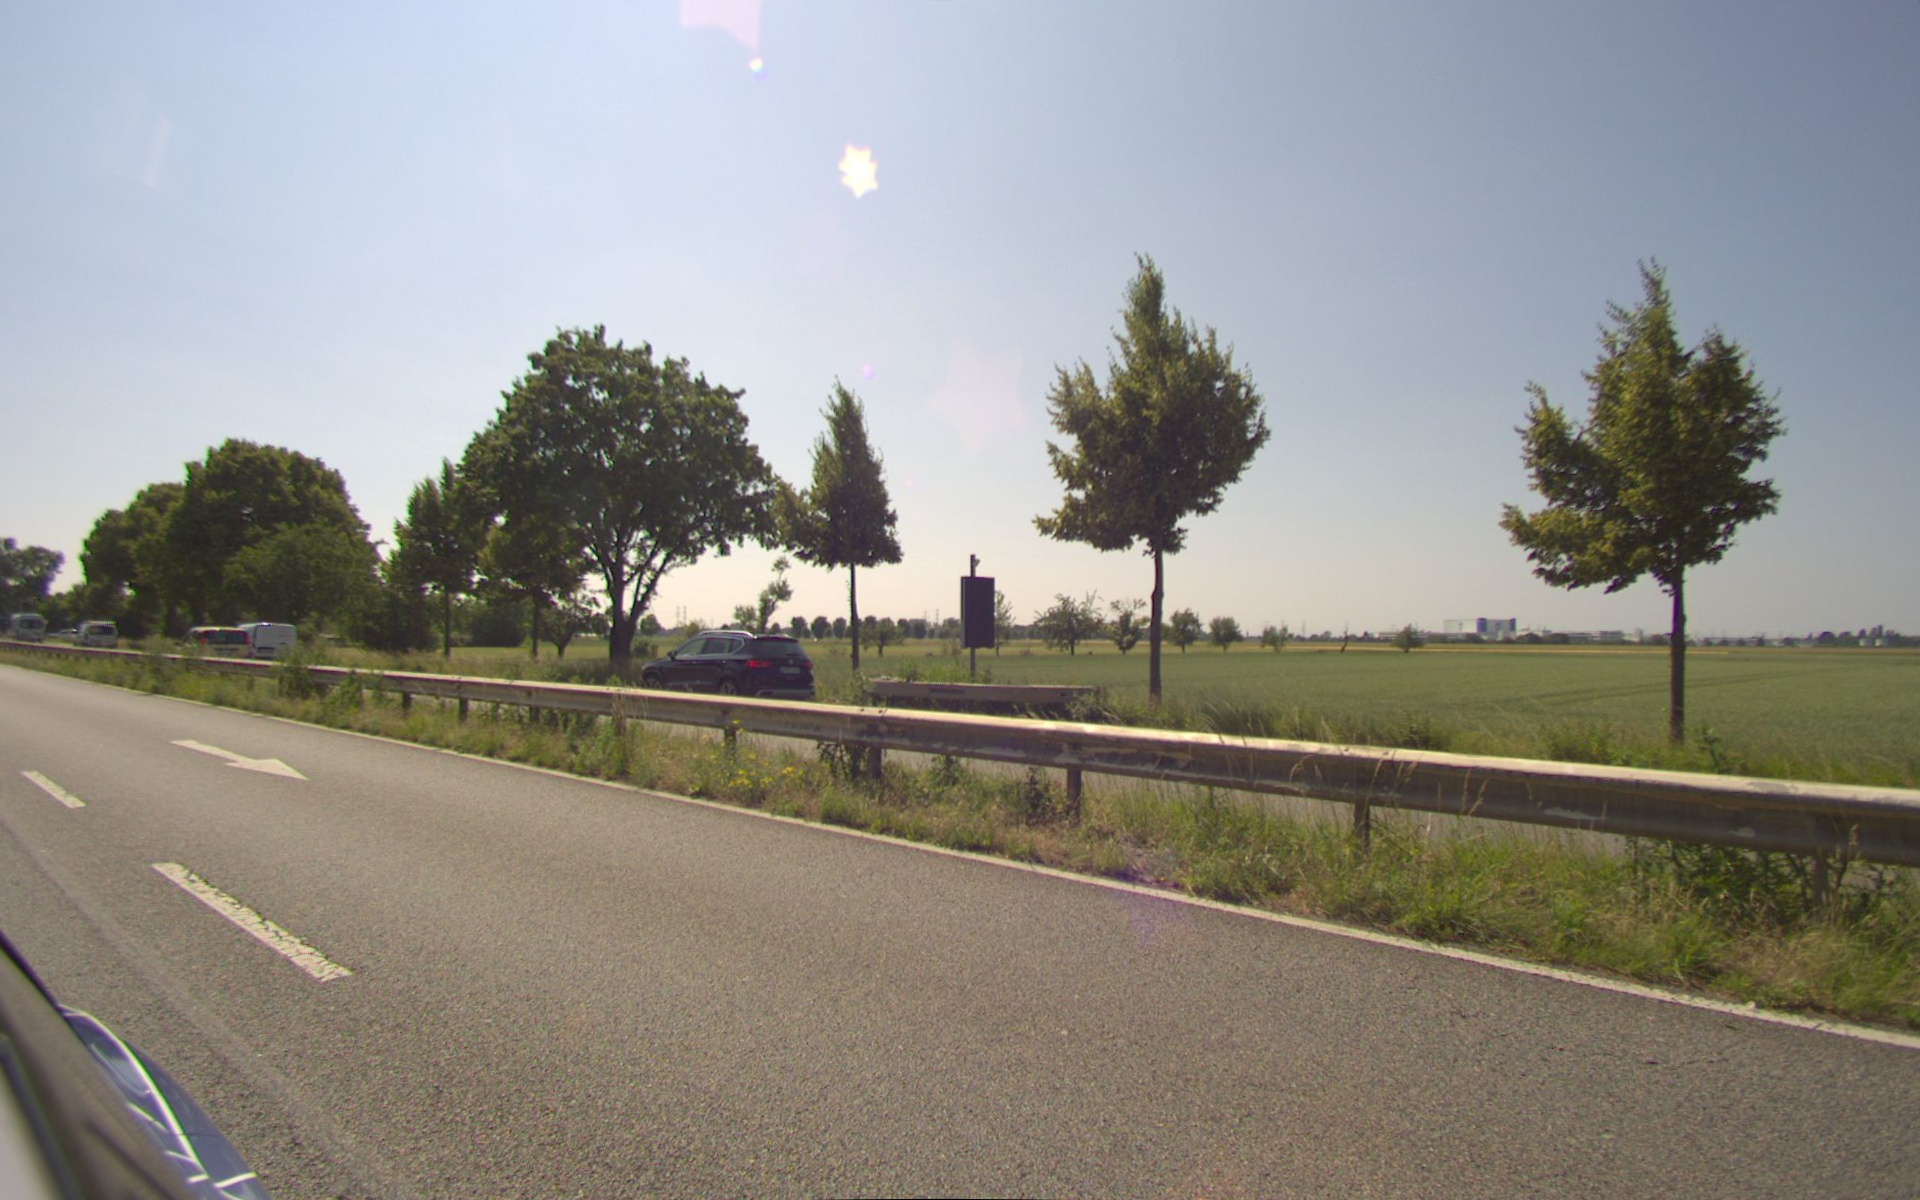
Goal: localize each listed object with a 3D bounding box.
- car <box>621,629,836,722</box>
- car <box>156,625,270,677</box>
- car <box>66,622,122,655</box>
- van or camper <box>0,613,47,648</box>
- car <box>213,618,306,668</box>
[{"bbox_3d":[-4.769,1.434,20.540,4.477,1.675,1.973,-1,-2,40],"label":"car"},{"bbox_3d":[-24.159,1.603,32.660,4.477,1.569,1.973,-1,-3,40],"label":"car"},{"bbox_3d":[-56.022,2.464,65.440,4.529,2.029,2.017,-1,-3,40],"label":"car"},{"bbox_3d":[-82.713,2.682,89.218,7.088,2.971,2.360,-1,-3,41],"label":"van or camper"},{"bbox_3d":[-29.281,1.777,42.246,4.924,1.975,1.973,-1,-3,40],"label":"car"}]
